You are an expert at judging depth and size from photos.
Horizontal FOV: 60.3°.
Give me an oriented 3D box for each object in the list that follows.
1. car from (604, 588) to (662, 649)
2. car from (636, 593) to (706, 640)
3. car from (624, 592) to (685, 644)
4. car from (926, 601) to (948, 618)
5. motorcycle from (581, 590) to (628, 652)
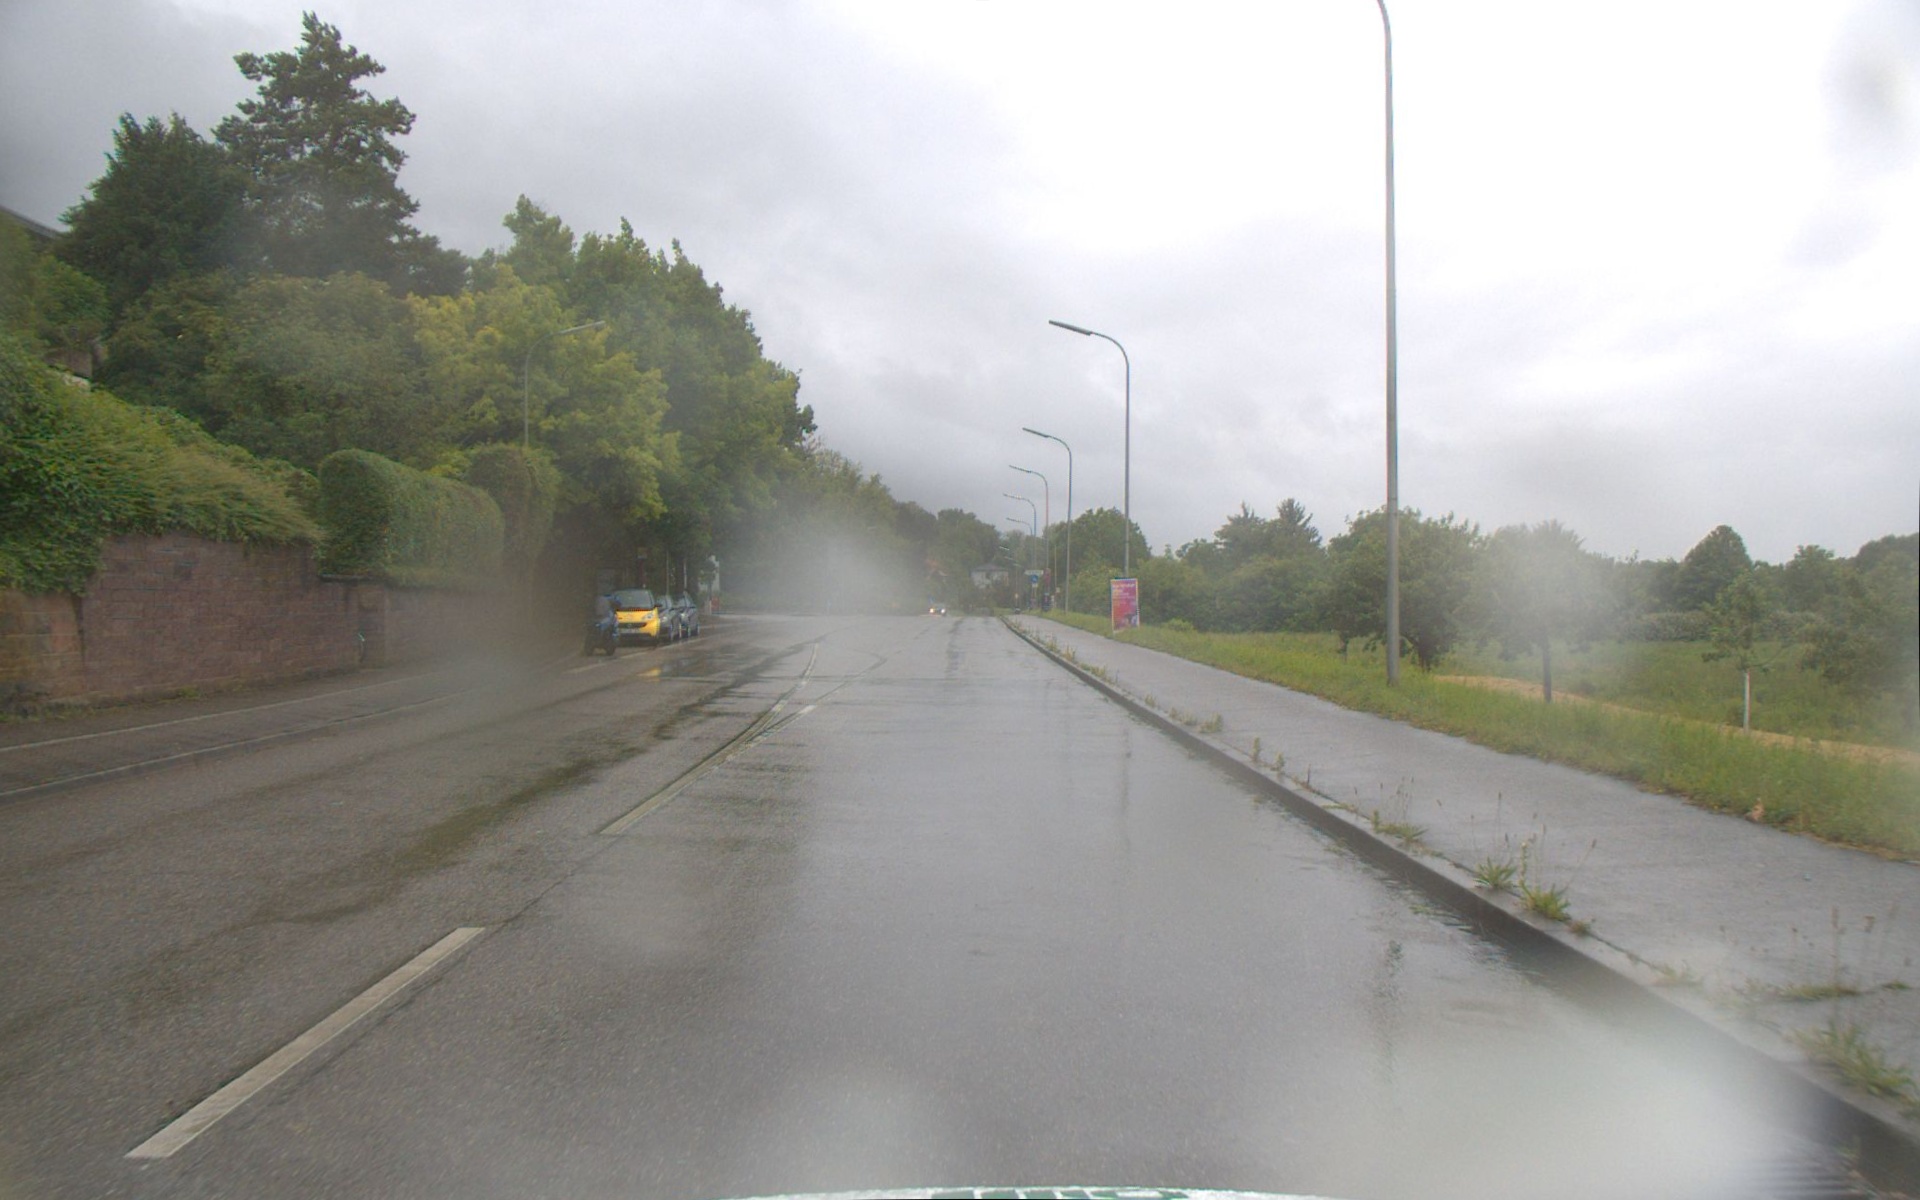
[{"bbox_3d":[-8.794,0.486,44.638,1.407,1.564,2.814,-1,0,-9],"label":"car"},{"bbox_3d":[-9.457,0.523,54.374,1.653,1.444,4.738,-1,0,-3],"label":"car"},{"bbox_3d":[-8.992,0.502,48.902,1.405,1.444,4.099,-1,0,-5],"label":"car"},{"bbox_3d":[-2.578,1.056,187.025,1.756,1.793,4.003,1,0,9],"label":"car"},{"bbox_3d":[-8.175,0.477,38.144,0.821,1.364,2.495,-1,0,-7],"label":"motorcycle"}]
